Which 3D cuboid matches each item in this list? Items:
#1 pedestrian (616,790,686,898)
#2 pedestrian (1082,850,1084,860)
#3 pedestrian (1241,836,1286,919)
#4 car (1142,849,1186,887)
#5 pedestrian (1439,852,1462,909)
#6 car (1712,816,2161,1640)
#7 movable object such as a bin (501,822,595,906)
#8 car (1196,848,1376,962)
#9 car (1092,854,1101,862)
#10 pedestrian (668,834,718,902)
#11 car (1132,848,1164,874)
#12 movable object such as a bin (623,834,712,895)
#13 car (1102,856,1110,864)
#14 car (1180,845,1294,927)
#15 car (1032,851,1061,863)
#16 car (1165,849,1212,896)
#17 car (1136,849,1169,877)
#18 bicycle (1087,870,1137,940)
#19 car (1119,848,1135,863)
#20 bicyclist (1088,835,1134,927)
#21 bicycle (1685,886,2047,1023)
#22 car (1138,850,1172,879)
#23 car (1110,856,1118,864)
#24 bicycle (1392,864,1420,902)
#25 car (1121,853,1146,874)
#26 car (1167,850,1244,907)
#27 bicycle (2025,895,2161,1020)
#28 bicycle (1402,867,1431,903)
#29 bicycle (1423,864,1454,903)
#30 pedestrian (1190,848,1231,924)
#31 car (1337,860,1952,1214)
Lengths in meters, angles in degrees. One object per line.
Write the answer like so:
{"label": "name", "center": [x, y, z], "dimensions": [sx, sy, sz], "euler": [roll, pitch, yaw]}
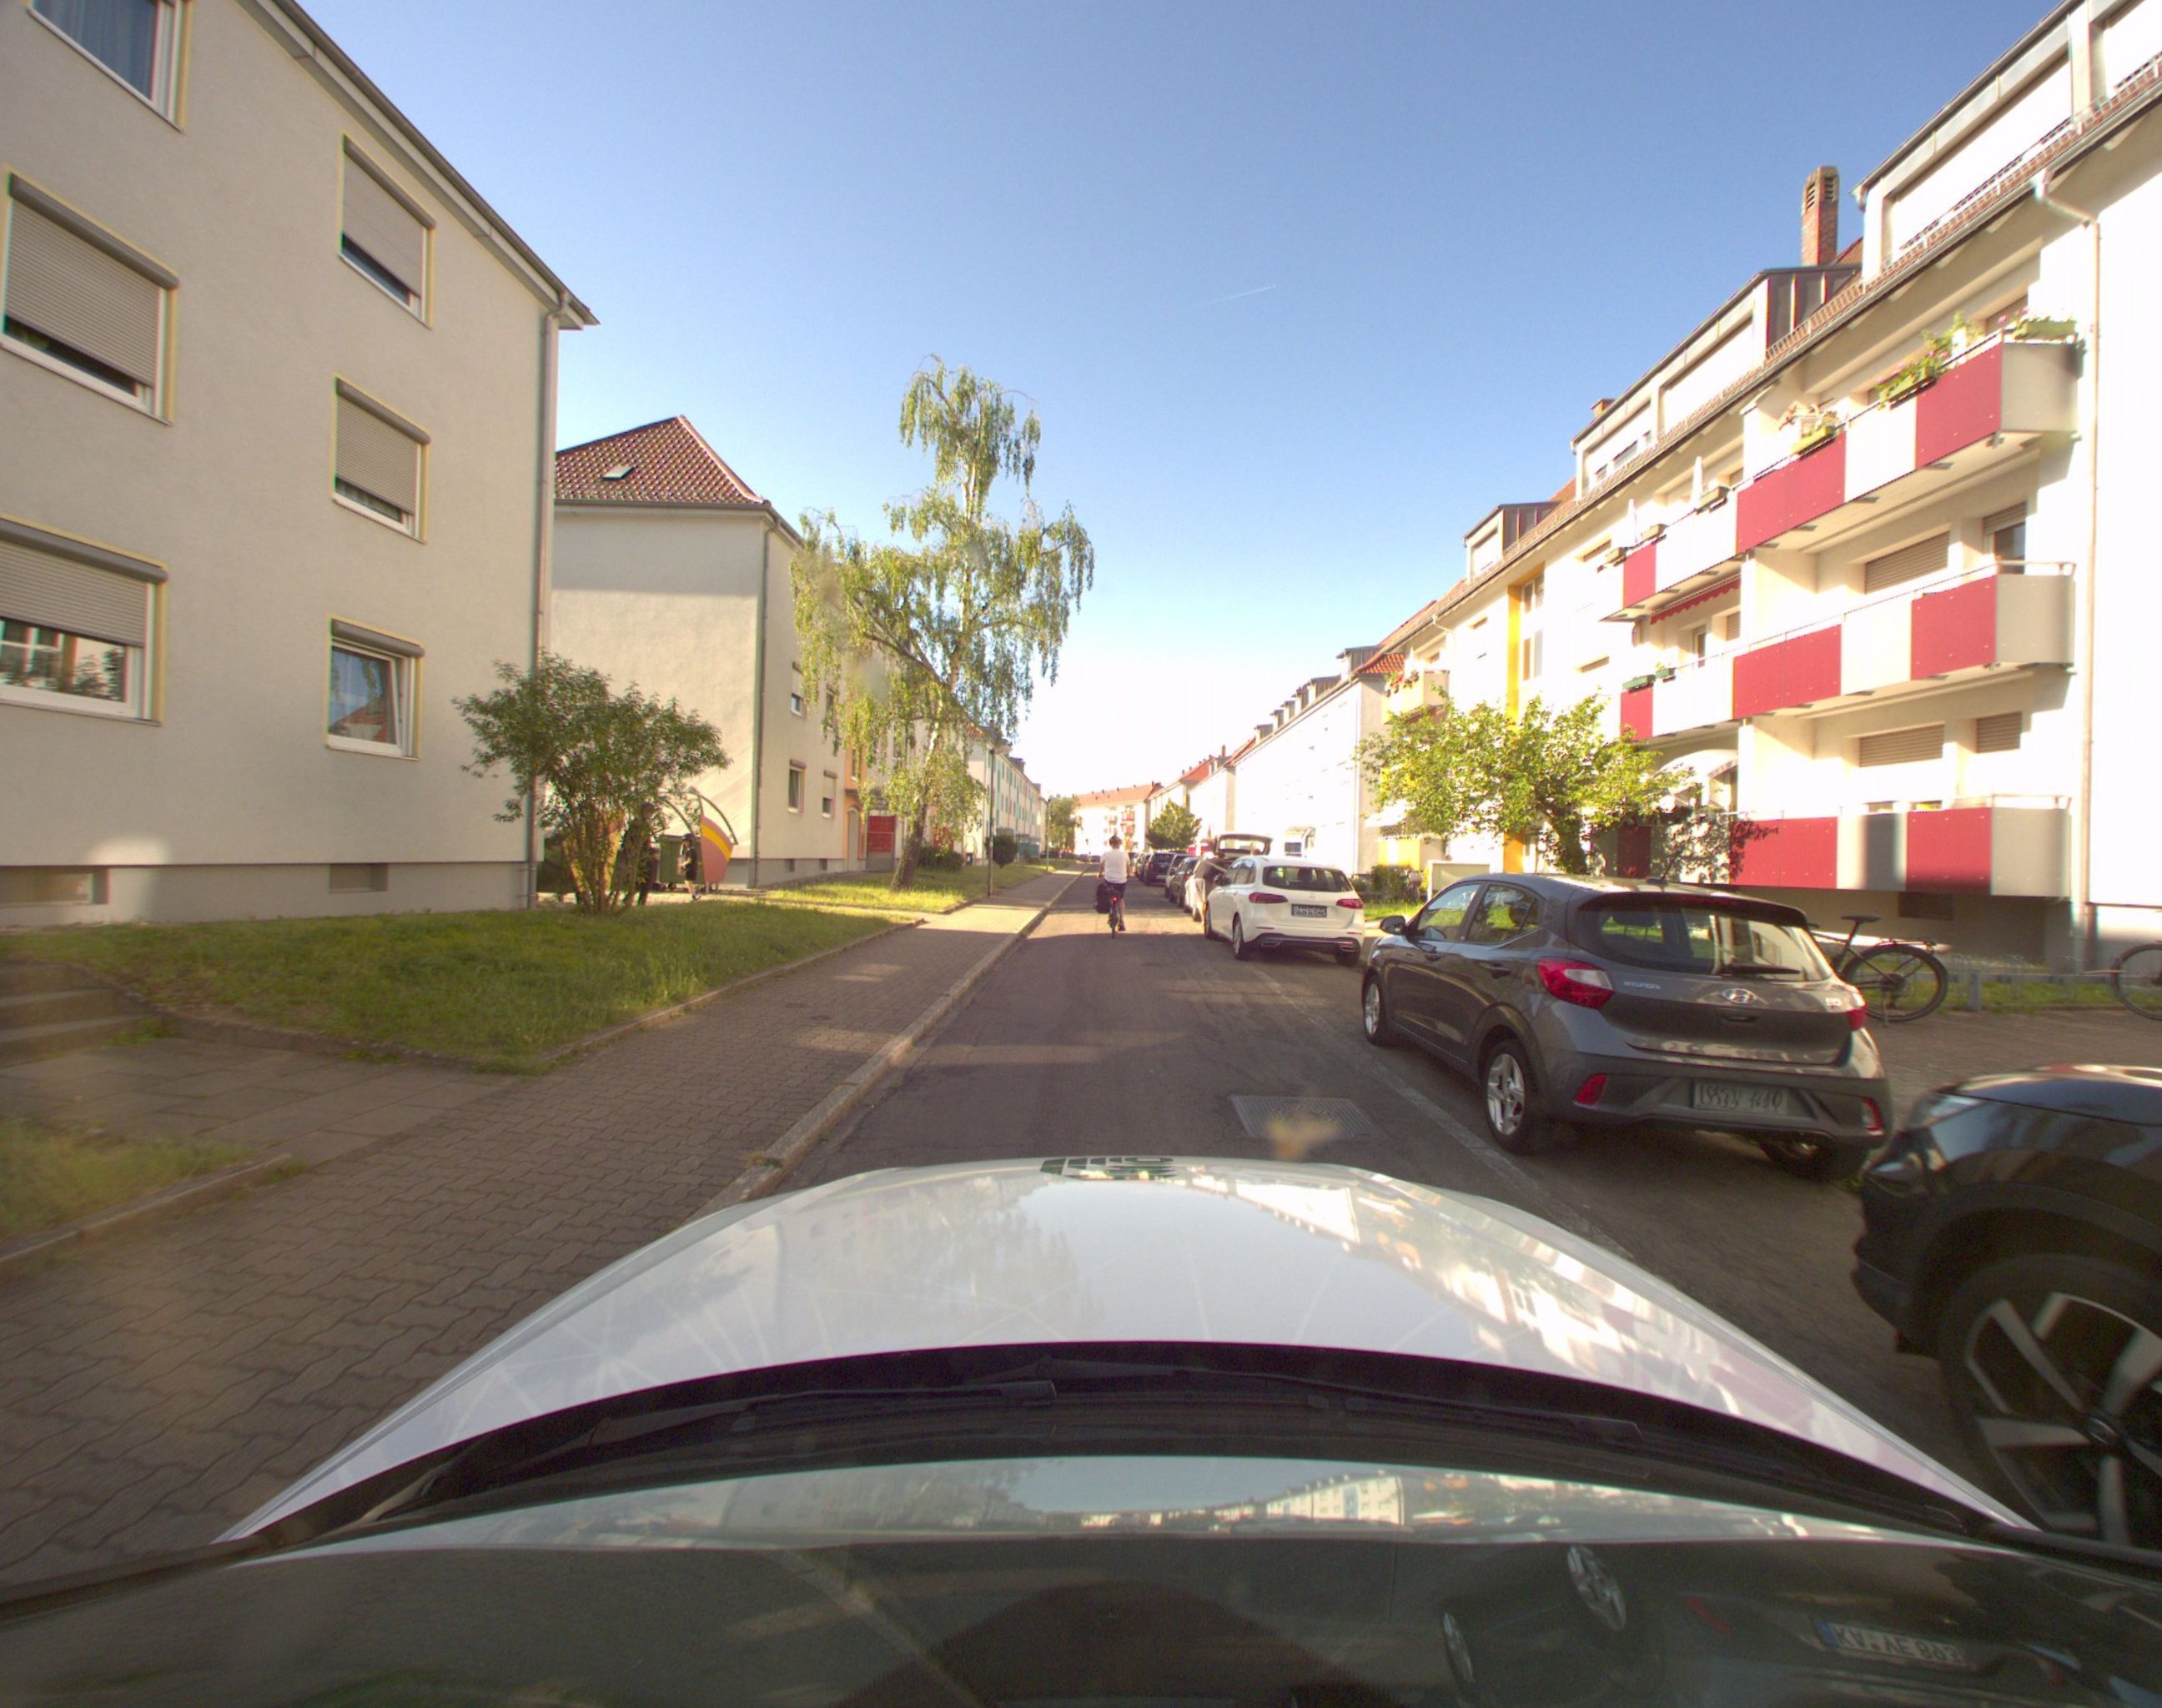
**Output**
{"label": "pedestrian", "center": [-7.492, -0.169, 14.229], "dimensions": [0.803, 1.823, 0.718], "euler": [1, 0, 2]}
{"label": "pedestrian", "center": [0.338, 0.111, 132.230], "dimensions": [0.433, 1.574, 0.543], "euler": [0, 0, 1]}
{"label": "pedestrian", "center": [3.777, 0.479, 16.915], "dimensions": [0.816, 1.687, 0.604], "euler": [0, 0, 1]}
{"label": "car", "center": [3.935, 0.608, 39.268], "dimensions": [1.776, 1.648, 4.471], "euler": [3, 0, 3]}
{"label": "pedestrian", "center": [9.745, 0.693, 21.474], "dimensions": [0.449, 1.495, 0.360], "euler": [0, -2, 2]}
{"label": "car", "center": [2.914, 0.721, 0.519], "dimensions": [1.717, 1.578, 4.353], "euler": [0, 0, 1]}
{"label": "movable object such as a bin", "center": [-9.459, 0.170, 14.485], "dimensions": [1.080, 1.406, 0.813], "euler": [2, 0, 2]}
{"label": "car", "center": [3.120, 0.694, 13.374], "dimensions": [1.766, 1.505, 4.480], "euler": [2, 0, 0]}
{"label": "car", "center": [2.605, 0.724, 136.011], "dimensions": [1.465, 1.335, 3.140], "euler": [0, 0, 0]}
{"label": "pedestrian", "center": [-7.759, 0.278, 16.300], "dimensions": [0.683, 1.317, 0.576], "euler": [1, 0, 2]}
{"label": "car", "center": [4.549, 0.457, 56.022], "dimensions": [1.745, 1.617, 4.451], "euler": [3, 0, 0]}
{"label": "movable object such as a bin", "center": [-9.785, 0.230, 19.336], "dimensions": [1.383, 1.336, 1.228], "euler": [3, 0, 1]}
{"label": "car", "center": [5.069, 1.203, 165.211], "dimensions": [1.465, 1.516, 3.076], "euler": [0, 0, 0]}
{"label": "car", "center": [3.525, 0.650, 19.359], "dimensions": [1.985, 1.613, 5.000], "euler": [3, 0, 4]}
{"label": "car", "center": [-4.964, 0.374, 117.477], "dimensions": [4.221, 1.638, 1.581], "euler": [1, 0, -3]}
{"label": "car", "center": [3.800, 0.628, 29.089], "dimensions": [1.473, 1.529, 2.945], "euler": [3, 0, 5]}
{"label": "car", "center": [4.339, 0.509, 49.970], "dimensions": [1.684, 1.575, 4.435], "euler": [2, 0, 1]}
{"label": "bicycle", "center": [0.536, 0.887, 14.854], "dimensions": [0.806, 1.128, 2.101], "euler": [0, 0, -1]}
{"label": "car", "center": [5.844, 0.150, 103.283], "dimensions": [1.669, 1.738, 3.942], "euler": [2, 0, 0]}
{"label": "bicyclist", "center": [0.538, 0.482, 14.964], "dimensions": [0.806, 1.643, 0.898], "euler": [0, 0, -1]}
{"label": "bicycle", "center": [7.222, 0.893, 7.629], "dimensions": [2.411, 1.130, 0.881], "euler": [0, 0, 7]}
{"label": "car", "center": [4.011, 0.538, 44.367], "dimensions": [1.635, 1.498, 4.159], "euler": [1, 0, 3]}
{"label": "car", "center": [6.128, 1.127, 152.412], "dimensions": [1.377, 1.497, 3.076], "euler": [0, 0, 0]}
{"label": "bicycle", "center": [9.848, 0.870, 24.708], "dimensions": [0.401, 1.087, 1.300], "euler": [0, 0, 2]}
{"label": "car", "center": [4.422, 0.770, 68.653], "dimensions": [1.855, 1.668, 4.128], "euler": [3, 0, 1]}
{"label": "car", "center": [3.666, 0.670, 24.614], "dimensions": [1.688, 1.491, 3.984], "euler": [3, 0, 1]}
{"label": "bicycle", "center": [9.860, 0.947, 7.154], "dimensions": [0.518, 1.049, 2.289], "euler": [-1, 0, 2]}
{"label": "bicycle", "center": [9.795, 0.893, 23.799], "dimensions": [0.737, 1.047, 0.239], "euler": [0, 0, 3]}
{"label": "bicycle", "center": [10.738, 0.867, 24.476], "dimensions": [0.401, 1.132, 1.273], "euler": [1, 0, 2]}
{"label": "pedestrian", "center": [2.738, 0.653, 17.308], "dimensions": [0.737, 1.575, 0.880], "euler": [0, 0, 1]}
{"label": "car", "center": [3.138, 0.823, 5.664], "dimensions": [1.639, 1.449, 4.065], "euler": [3, 0, 4]}
